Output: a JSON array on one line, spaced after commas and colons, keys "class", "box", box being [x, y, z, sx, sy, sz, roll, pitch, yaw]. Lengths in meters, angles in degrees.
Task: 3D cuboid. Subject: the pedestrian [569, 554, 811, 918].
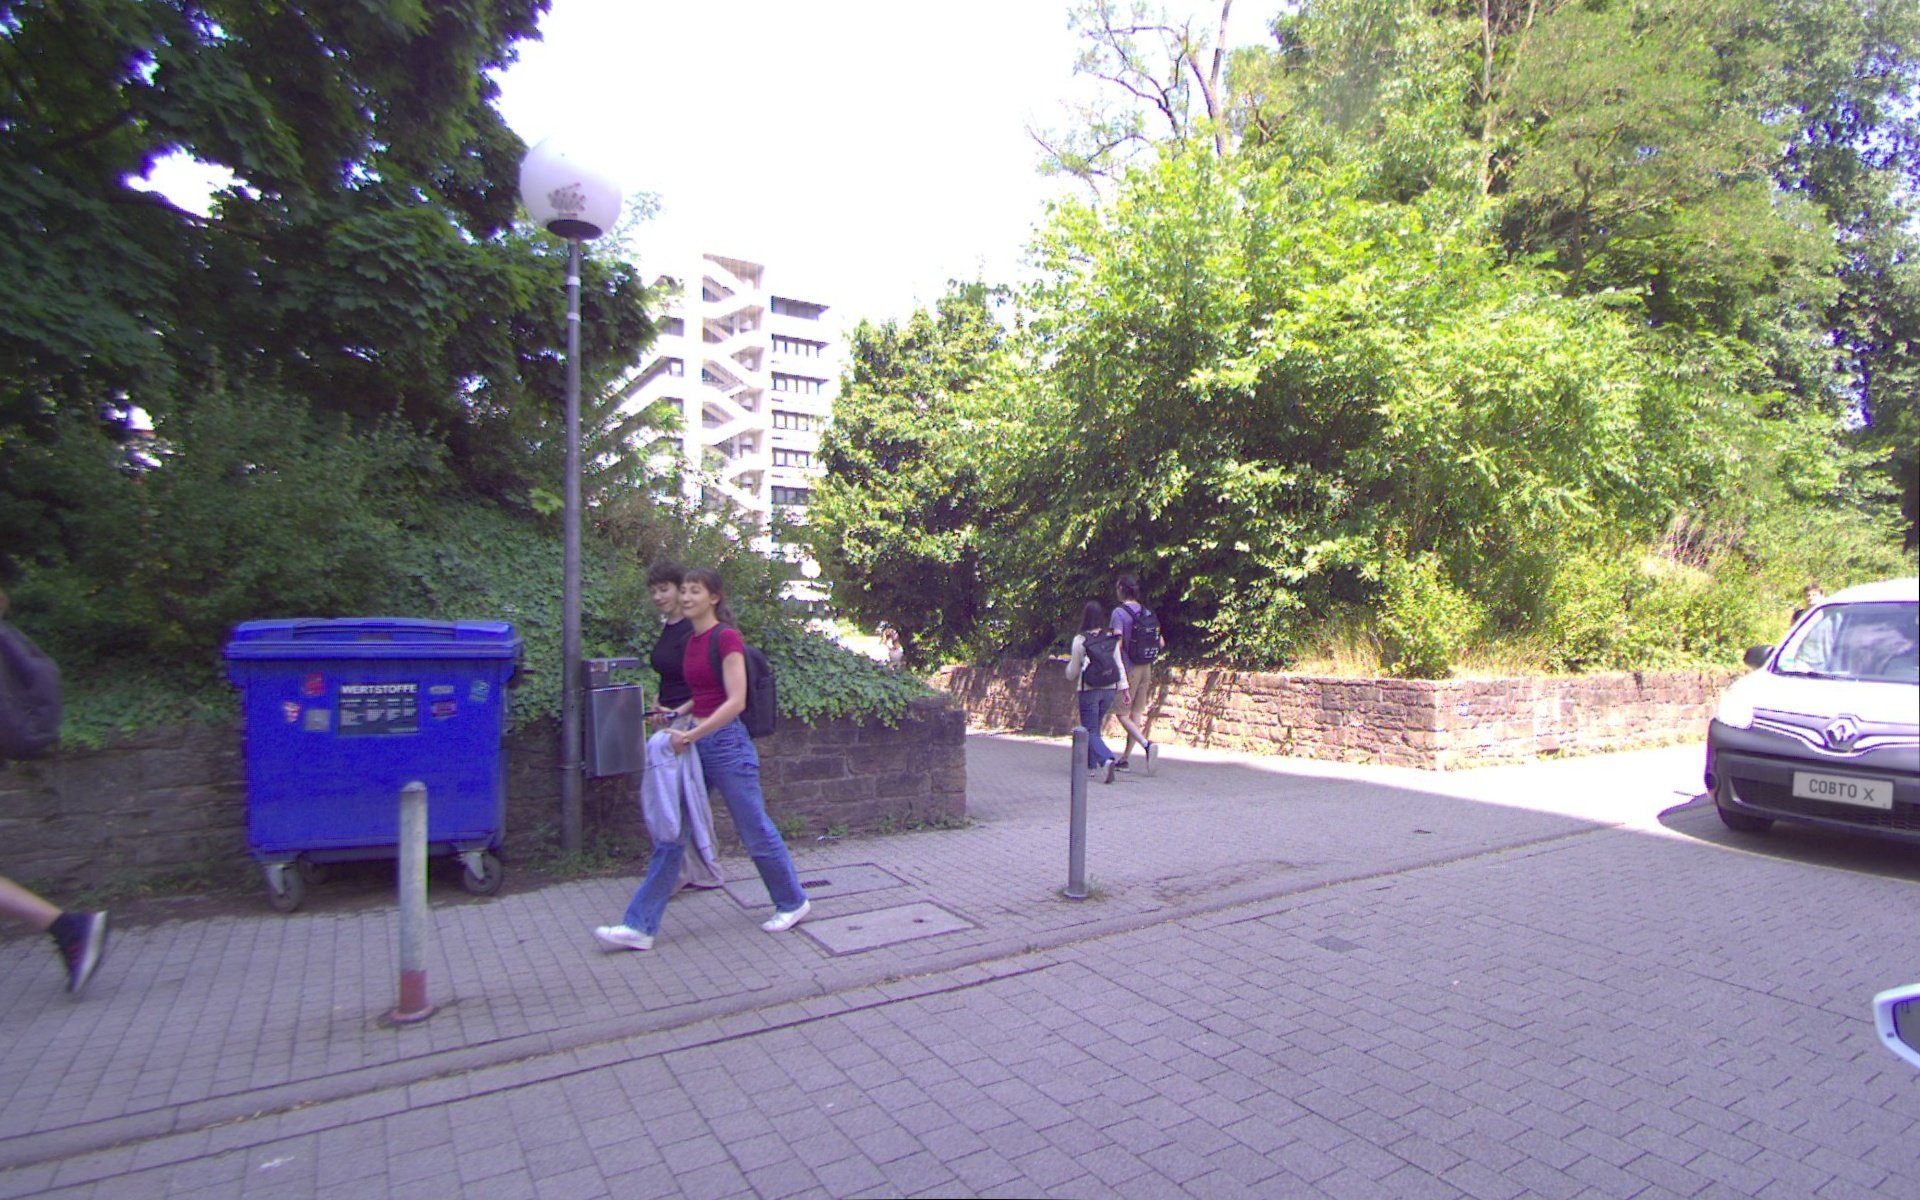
[{"class": "pedestrian", "box": [-1.368, 0.625, 5.096, 0.969, 1.642, 0.677, 2, -1, -37]}]

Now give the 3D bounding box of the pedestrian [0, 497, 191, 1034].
[{"class": "pedestrian", "box": [-3.368, 0.536, 3.513, 1.011, 1.751, 0.677, 2, -1, -37]}]

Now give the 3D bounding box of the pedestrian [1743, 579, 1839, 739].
[{"class": "pedestrian", "box": [10.162, 0.703, 12.288, 0.774, 1.868, 0.679, 2, -1, -32]}]

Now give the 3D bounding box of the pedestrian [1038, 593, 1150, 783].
[{"class": "pedestrian", "box": [1.213, 0.781, 9.174, 0.678, 1.641, 0.776, 2, -3, -34]}]

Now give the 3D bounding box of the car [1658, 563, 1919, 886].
[{"class": "car", "box": [7.015, 0.725, 7.063, 4.428, 1.785, 1.782, 1, -1, -30]}]

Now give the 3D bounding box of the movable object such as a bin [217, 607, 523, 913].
[{"class": "movable object such as a bin", "box": [-2.903, 0.738, 5.082, 1.221, 1.354, 0.708, 1, 2, -22]}]

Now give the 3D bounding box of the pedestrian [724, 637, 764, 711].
[{"class": "pedestrian", "box": [-4.992, 1.698, 23.168, 0.676, 1.664, 0.898, 1, -3, -28]}]

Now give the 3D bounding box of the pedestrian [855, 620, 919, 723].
[{"class": "pedestrian", "box": [-1.228, 1.183, 16.801, 0.678, 1.664, 0.895, 2, -3, -37]}]

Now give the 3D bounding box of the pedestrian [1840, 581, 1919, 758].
[{"class": "pedestrian", "box": [10.295, 0.741, 11.069, 0.774, 1.868, 0.679, 2, -1, -32]}]

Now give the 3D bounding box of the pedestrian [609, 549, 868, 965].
[{"class": "pedestrian", "box": [-0.996, 0.632, 4.515, 0.905, 1.642, 0.677, 2, -1, -36]}]

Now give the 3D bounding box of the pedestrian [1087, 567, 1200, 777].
[{"class": "pedestrian", "box": [1.724, 0.664, 9.473, 0.678, 1.868, 0.821, 2, -3, -34]}]
